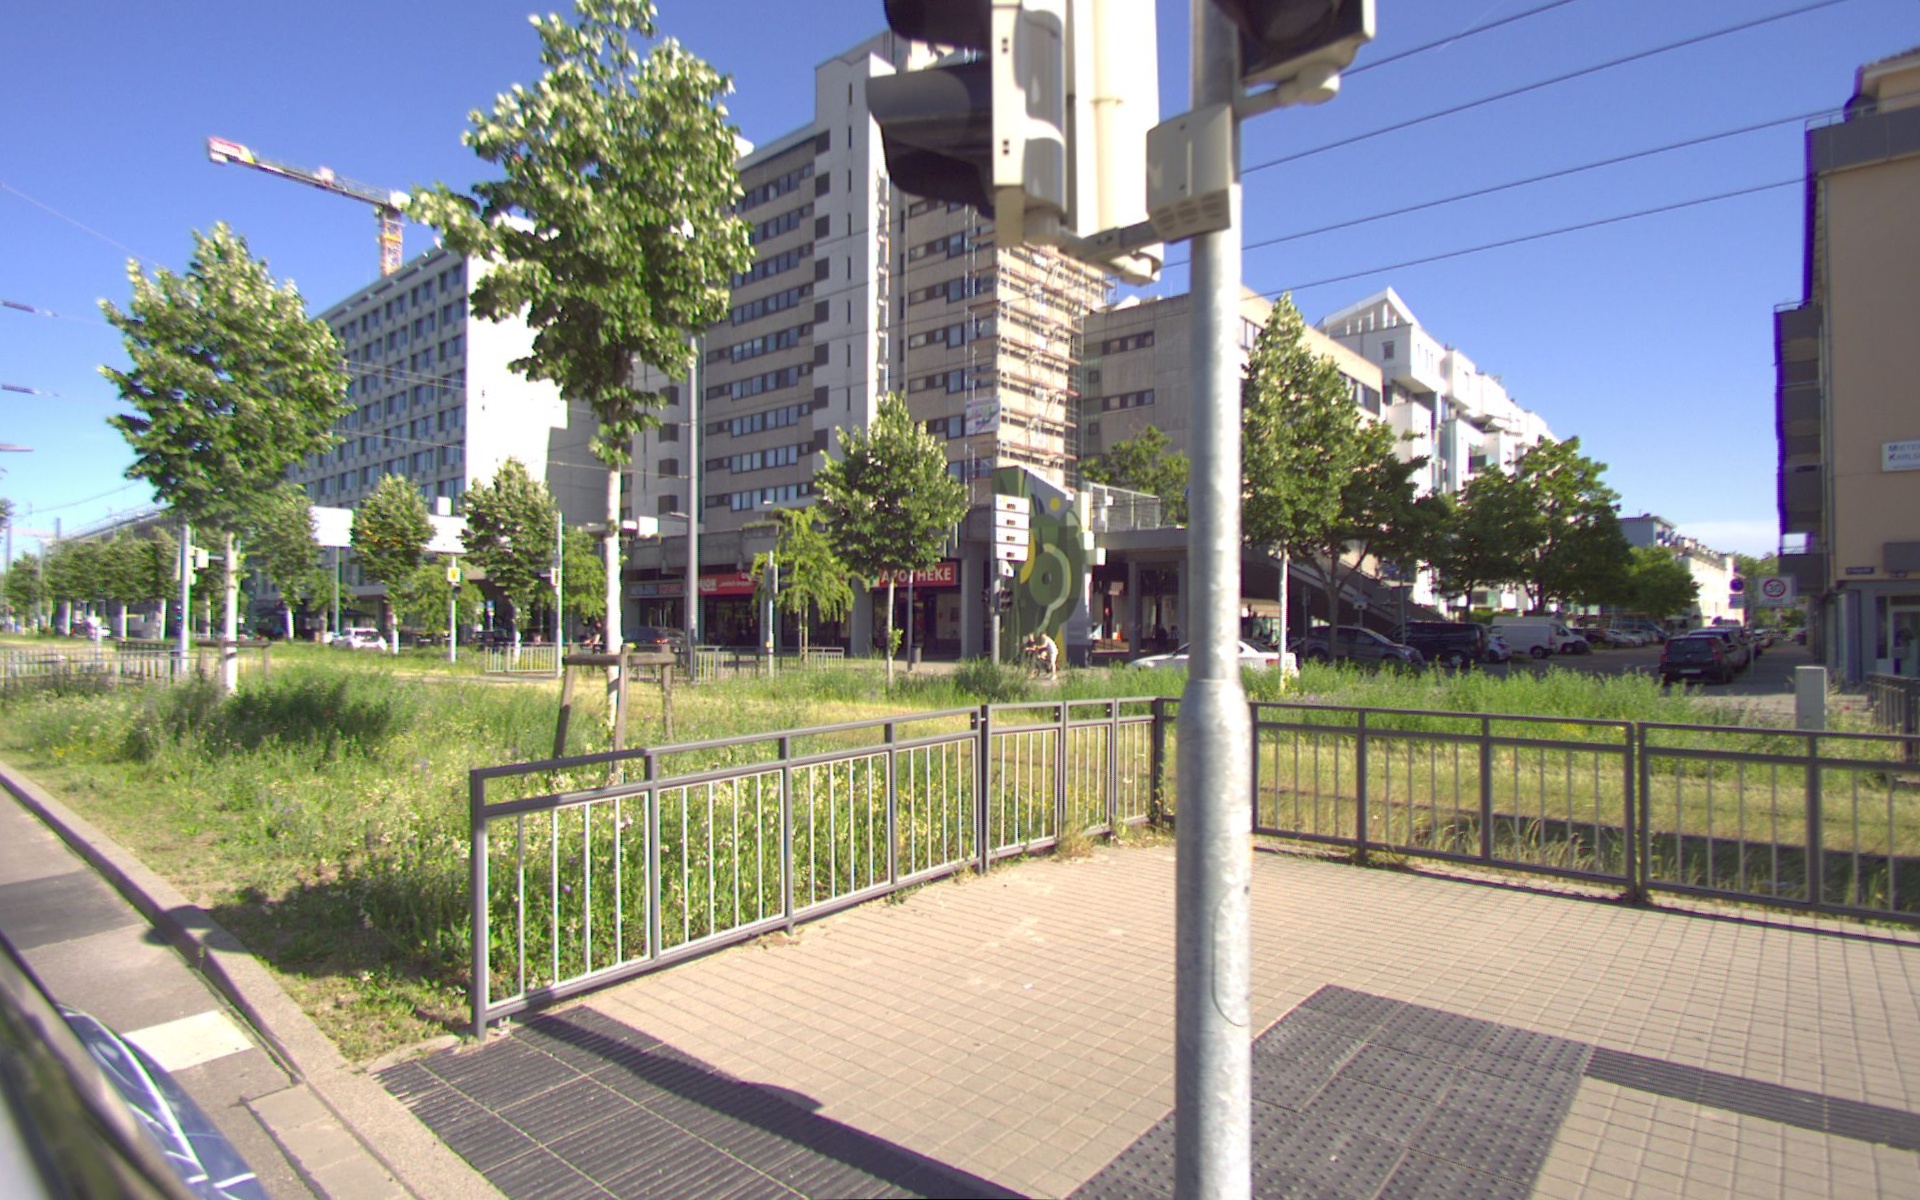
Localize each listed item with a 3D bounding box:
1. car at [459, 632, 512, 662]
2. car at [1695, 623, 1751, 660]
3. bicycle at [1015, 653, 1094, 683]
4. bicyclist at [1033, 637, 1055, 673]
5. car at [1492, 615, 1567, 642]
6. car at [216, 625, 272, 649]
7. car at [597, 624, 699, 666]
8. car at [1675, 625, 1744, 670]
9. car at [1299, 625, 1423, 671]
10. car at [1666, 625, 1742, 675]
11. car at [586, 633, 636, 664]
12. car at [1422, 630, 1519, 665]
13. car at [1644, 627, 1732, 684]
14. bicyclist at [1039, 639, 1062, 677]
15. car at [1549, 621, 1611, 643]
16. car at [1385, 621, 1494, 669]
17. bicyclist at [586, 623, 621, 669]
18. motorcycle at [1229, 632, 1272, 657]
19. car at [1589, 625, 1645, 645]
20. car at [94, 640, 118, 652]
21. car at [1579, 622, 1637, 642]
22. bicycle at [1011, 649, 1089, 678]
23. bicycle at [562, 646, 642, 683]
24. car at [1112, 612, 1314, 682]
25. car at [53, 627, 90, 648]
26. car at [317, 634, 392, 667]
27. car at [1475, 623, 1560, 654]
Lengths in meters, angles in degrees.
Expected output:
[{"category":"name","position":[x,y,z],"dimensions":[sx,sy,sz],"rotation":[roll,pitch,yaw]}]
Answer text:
[{"category":"car","position":[-29.158,2.880,62.350],"dimensions":[1.768,1.697,4.005],"rotation":[-1,-1,-6]},{"category":"car","position":[37.244,1.987,49.376],"dimensions":[1.998,1.630,3.947],"rotation":[-1,-1,39]},{"category":"bicycle","position":[3.195,2.303,34.280],"dimensions":[2.639,0.958,0.562],"rotation":[-1,-1,4]},{"category":"bicyclist","position":[2.909,1.896,35.091],"dimensions":[0.758,1.234,0.579],"rotation":[-1,-1,3]},{"category":"car","position":[36.917,1.825,65.639],"dimensions":[3.994,1.652,1.975],"rotation":[-1,-1,38]},{"category":"car","position":[-49.198,2.536,69.504],"dimensions":[4.502,1.590,1.974],"rotation":[-1,-1,39]},{"category":"car","position":[-12.635,1.833,40.916],"dimensions":[4.101,1.590,1.974],"rotation":[-1,-4,39]},{"category":"car","position":[29.992,1.869,40.443],"dimensions":[1.998,1.630,3.947],"rotation":[-1,-1,39]},{"category":"car","position":[15.383,1.799,38.891],"dimensions":[3.998,1.652,1.973],"rotation":[-1,-1,41]},{"category":"car","position":[27.022,1.758,36.734],"dimensions":[1.998,1.630,3.947],"rotation":[-1,-1,39]},{"category":"car","position":[-19.020,2.628,55.295],"dimensions":[1.691,1.531,4.005],"rotation":[-1,-1,-6]},{"category":"car","position":[25.272,2.312,50.146],"dimensions":[3.994,1.619,1.975],"rotation":[-1,-1,38]},{"category":"car","position":[23.246,1.715,32.268],"dimensions":[1.998,1.630,3.947],"rotation":[-1,-1,39]},{"category":"bicyclist","position":[3.065,1.965,34.296],"dimensions":[0.758,1.234,0.579],"rotation":[-1,-1,3]},{"category":"car","position":[48.430,2.461,79.106],"dimensions":[3.993,1.652,1.975],"rotation":[-1,-1,37]},{"category":"car","position":[20.990,1.948,44.380],"dimensions":[3.994,1.984,1.975],"rotation":[-1,-1,38]},{"category":"bicyclist","position":[-9.819,1.272,27.905],"dimensions":[0.757,1.234,0.580],"rotation":[-1,-1,-2]},{"category":"motorcycle","position":[13.165,2.014,45.905],"dimensions":[1.875,1.114,0.440],"rotation":[-1,-1,42]},{"category":"car","position":[58.181,3.072,89.631],"dimensions":[3.993,1.652,1.975],"rotation":[-1,-1,37]},{"category":"car","position":[-111.667,6.003,132.331],"dimensions":[3.810,1.519,1.804],"rotation":[-1,-1,41]},{"category":"car","position":[54.192,2.664,84.667],"dimensions":[3.993,1.652,1.975],"rotation":[-1,-1,37]},{"category":"bicycle","position":[3.102,2.210,35.074],"dimensions":[2.639,0.958,0.562],"rotation":[-1,-1,4]},{"category":"bicycle","position":[-9.856,1.759,27.882],"dimensions":[1.987,0.958,0.563],"rotation":[-1,-1,-2]},{"category":"car","position":[6.279,1.120,25.357],"dimensions":[4.502,1.590,1.974],"rotation":[-1,-1,39]},{"category":"car","position":[-79.113,3.336,90.138],"dimensions":[4.284,1.833,1.973],"rotation":[-1,-1,41]},{"category":"car","position":[-32.255,2.654,53.874],"dimensions":[4.502,1.590,1.974],"rotation":[-1,-1,39]},{"category":"car","position":[31.539,2.146,57.272],"dimensions":[3.994,1.652,1.975],"rotation":[-1,-1,38]}]
